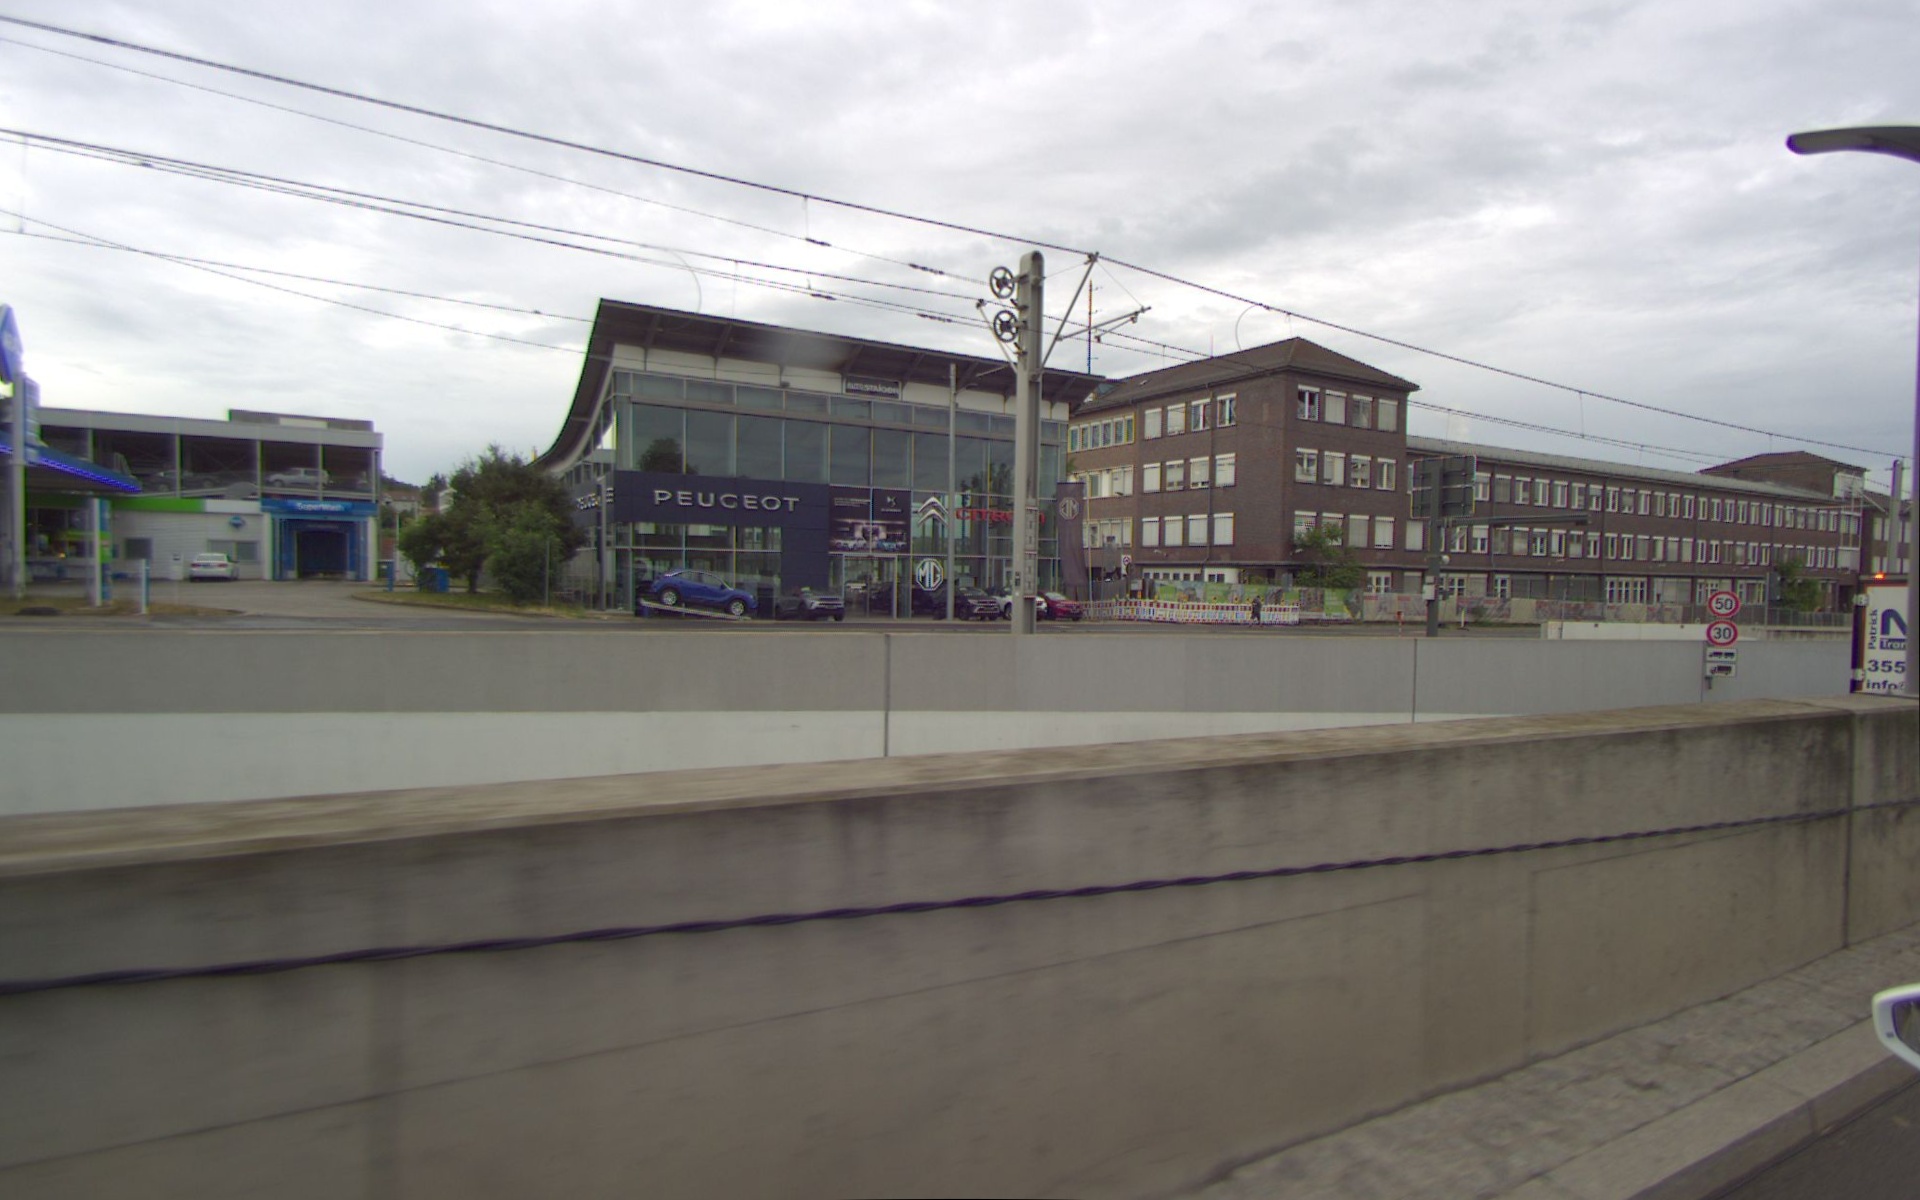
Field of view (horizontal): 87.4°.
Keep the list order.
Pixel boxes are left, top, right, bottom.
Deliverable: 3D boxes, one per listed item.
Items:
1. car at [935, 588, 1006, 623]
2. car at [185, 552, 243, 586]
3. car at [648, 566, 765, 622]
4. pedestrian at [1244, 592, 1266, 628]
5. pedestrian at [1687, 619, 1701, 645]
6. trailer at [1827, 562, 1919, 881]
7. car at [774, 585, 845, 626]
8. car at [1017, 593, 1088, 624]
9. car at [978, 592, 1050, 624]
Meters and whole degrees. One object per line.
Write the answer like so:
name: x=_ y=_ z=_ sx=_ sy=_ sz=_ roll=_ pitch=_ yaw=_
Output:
car: x=0.436 y=0.240 z=45.431 sx=1.729 sy=1.493 sz=3.464 roll=1 pitch=0 yaw=-29
car: x=-39.699 y=-1.642 z=53.563 sx=1.834 sy=1.662 sz=3.971 roll=1 pitch=1 yaw=-27
car: x=-9.725 y=-0.213 z=38.497 sx=4.012 sy=1.629 sz=1.757 roll=7 pitch=-1 yaw=-23
pedestrian: x=14.771 y=0.506 z=50.304 sx=0.830 sy=1.774 sz=0.612 roll=1 pitch=1 yaw=-30
pedestrian: x=58.476 y=2.582 z=80.044 sx=0.645 sy=2.040 sz=0.667 roll=2 pitch=0 yaw=-32
trailer: x=18.836 y=1.773 z=16.545 sx=13.026 sy=4.309 sz=2.749 roll=1 pitch=0 yaw=-30
car: x=-6.206 y=0.255 z=41.090 sx=1.557 sy=1.421 sz=3.484 roll=0 pitch=-4 yaw=-33
car: x=4.400 y=0.390 z=48.284 sx=1.601 sy=1.400 sz=3.460 roll=1 pitch=-1 yaw=-32
car: x=2.481 y=0.352 z=46.750 sx=1.729 sy=1.416 sz=3.464 roll=1 pitch=0 yaw=-29
